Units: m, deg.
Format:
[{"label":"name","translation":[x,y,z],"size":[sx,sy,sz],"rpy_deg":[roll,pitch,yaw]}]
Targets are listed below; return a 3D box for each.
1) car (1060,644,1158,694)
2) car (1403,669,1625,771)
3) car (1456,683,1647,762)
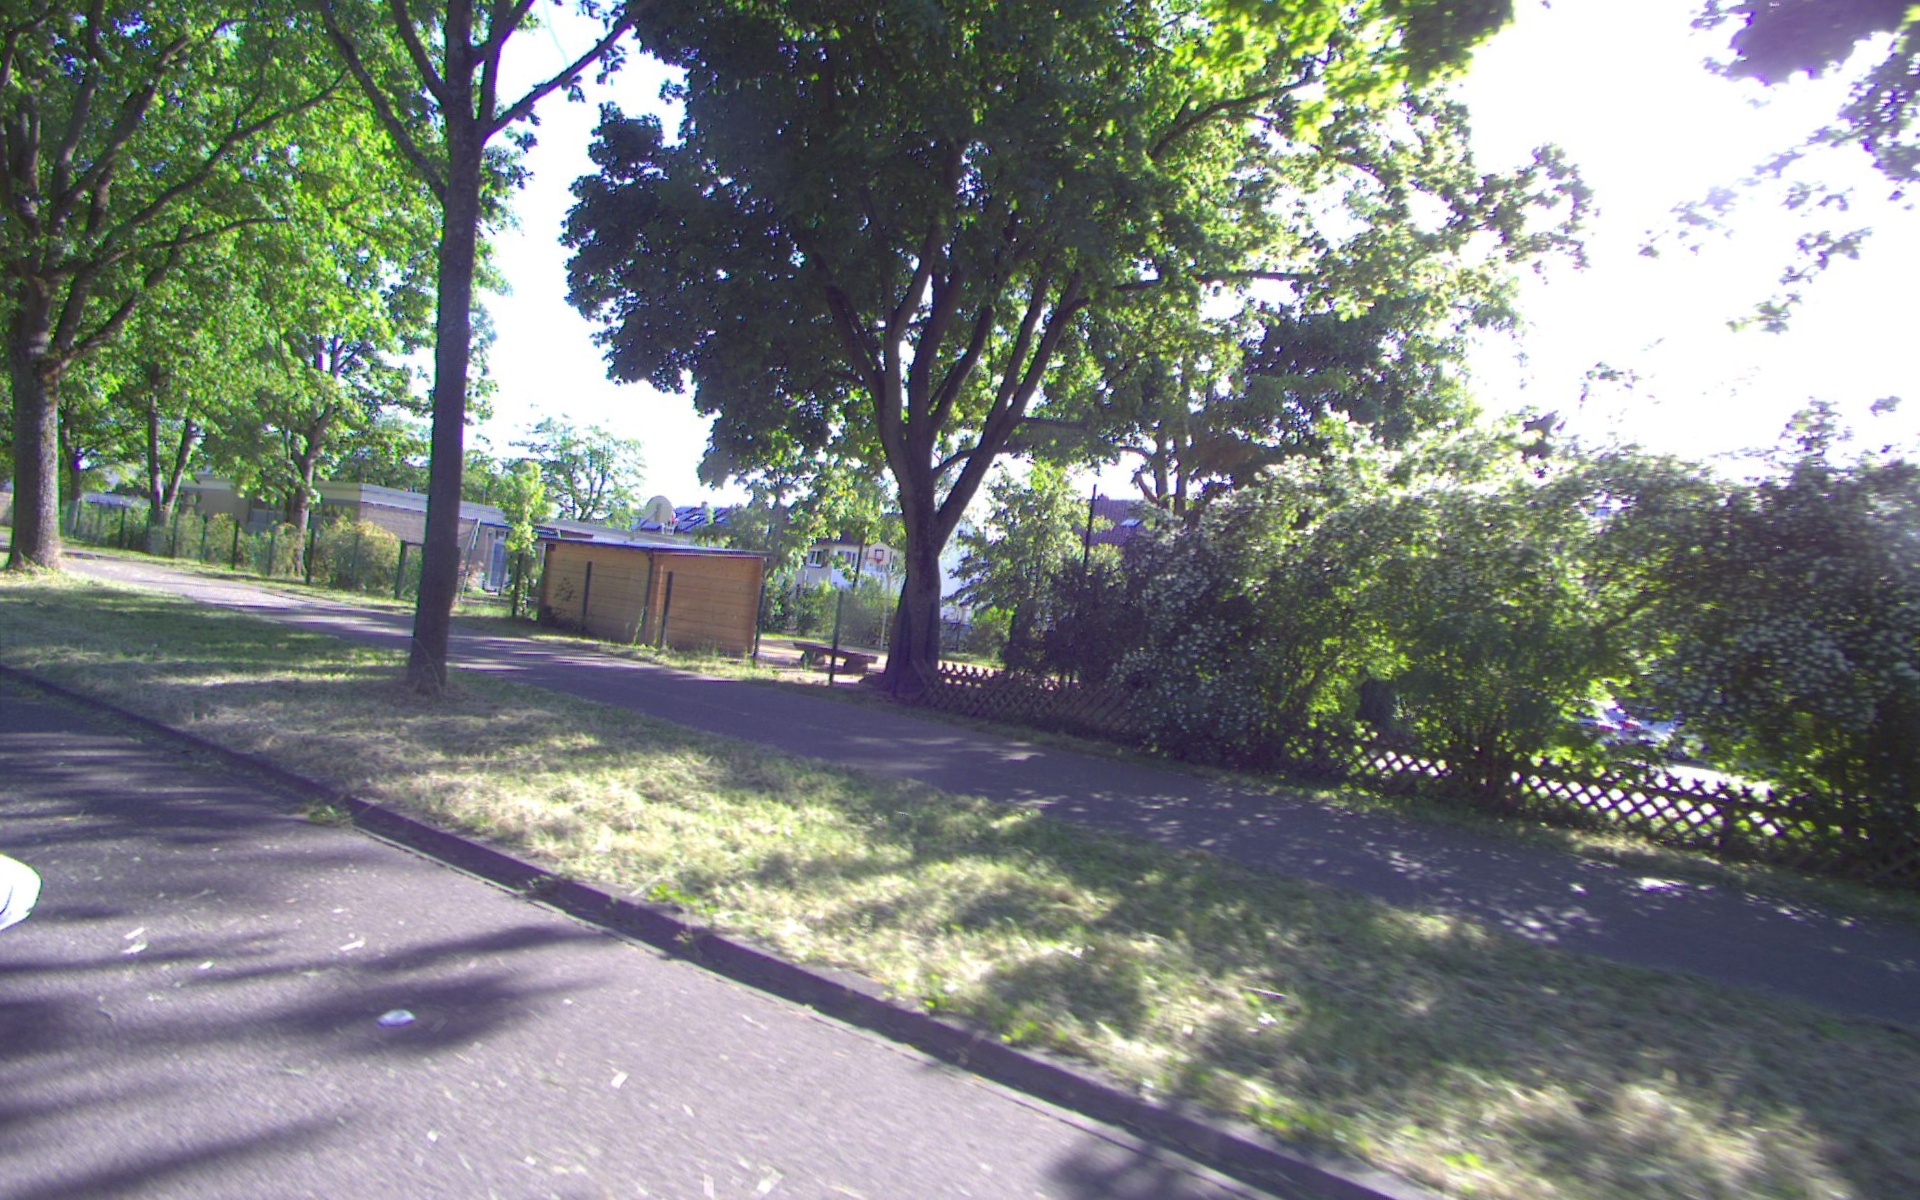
[{"label":"car","translation":[6.662,3.090,45.311],"size":[1.891,1.771,3.956],"rpy_deg":[6,-1,-40]},{"label":"car","translation":[12.216,2.582,22.297],"size":[3.943,1.637,1.872],"rpy_deg":[5,-1,40]},{"label":"car","translation":[15.490,3.156,26.437],"size":[3.946,1.482,1.990],"rpy_deg":[5,-1,42]}]
